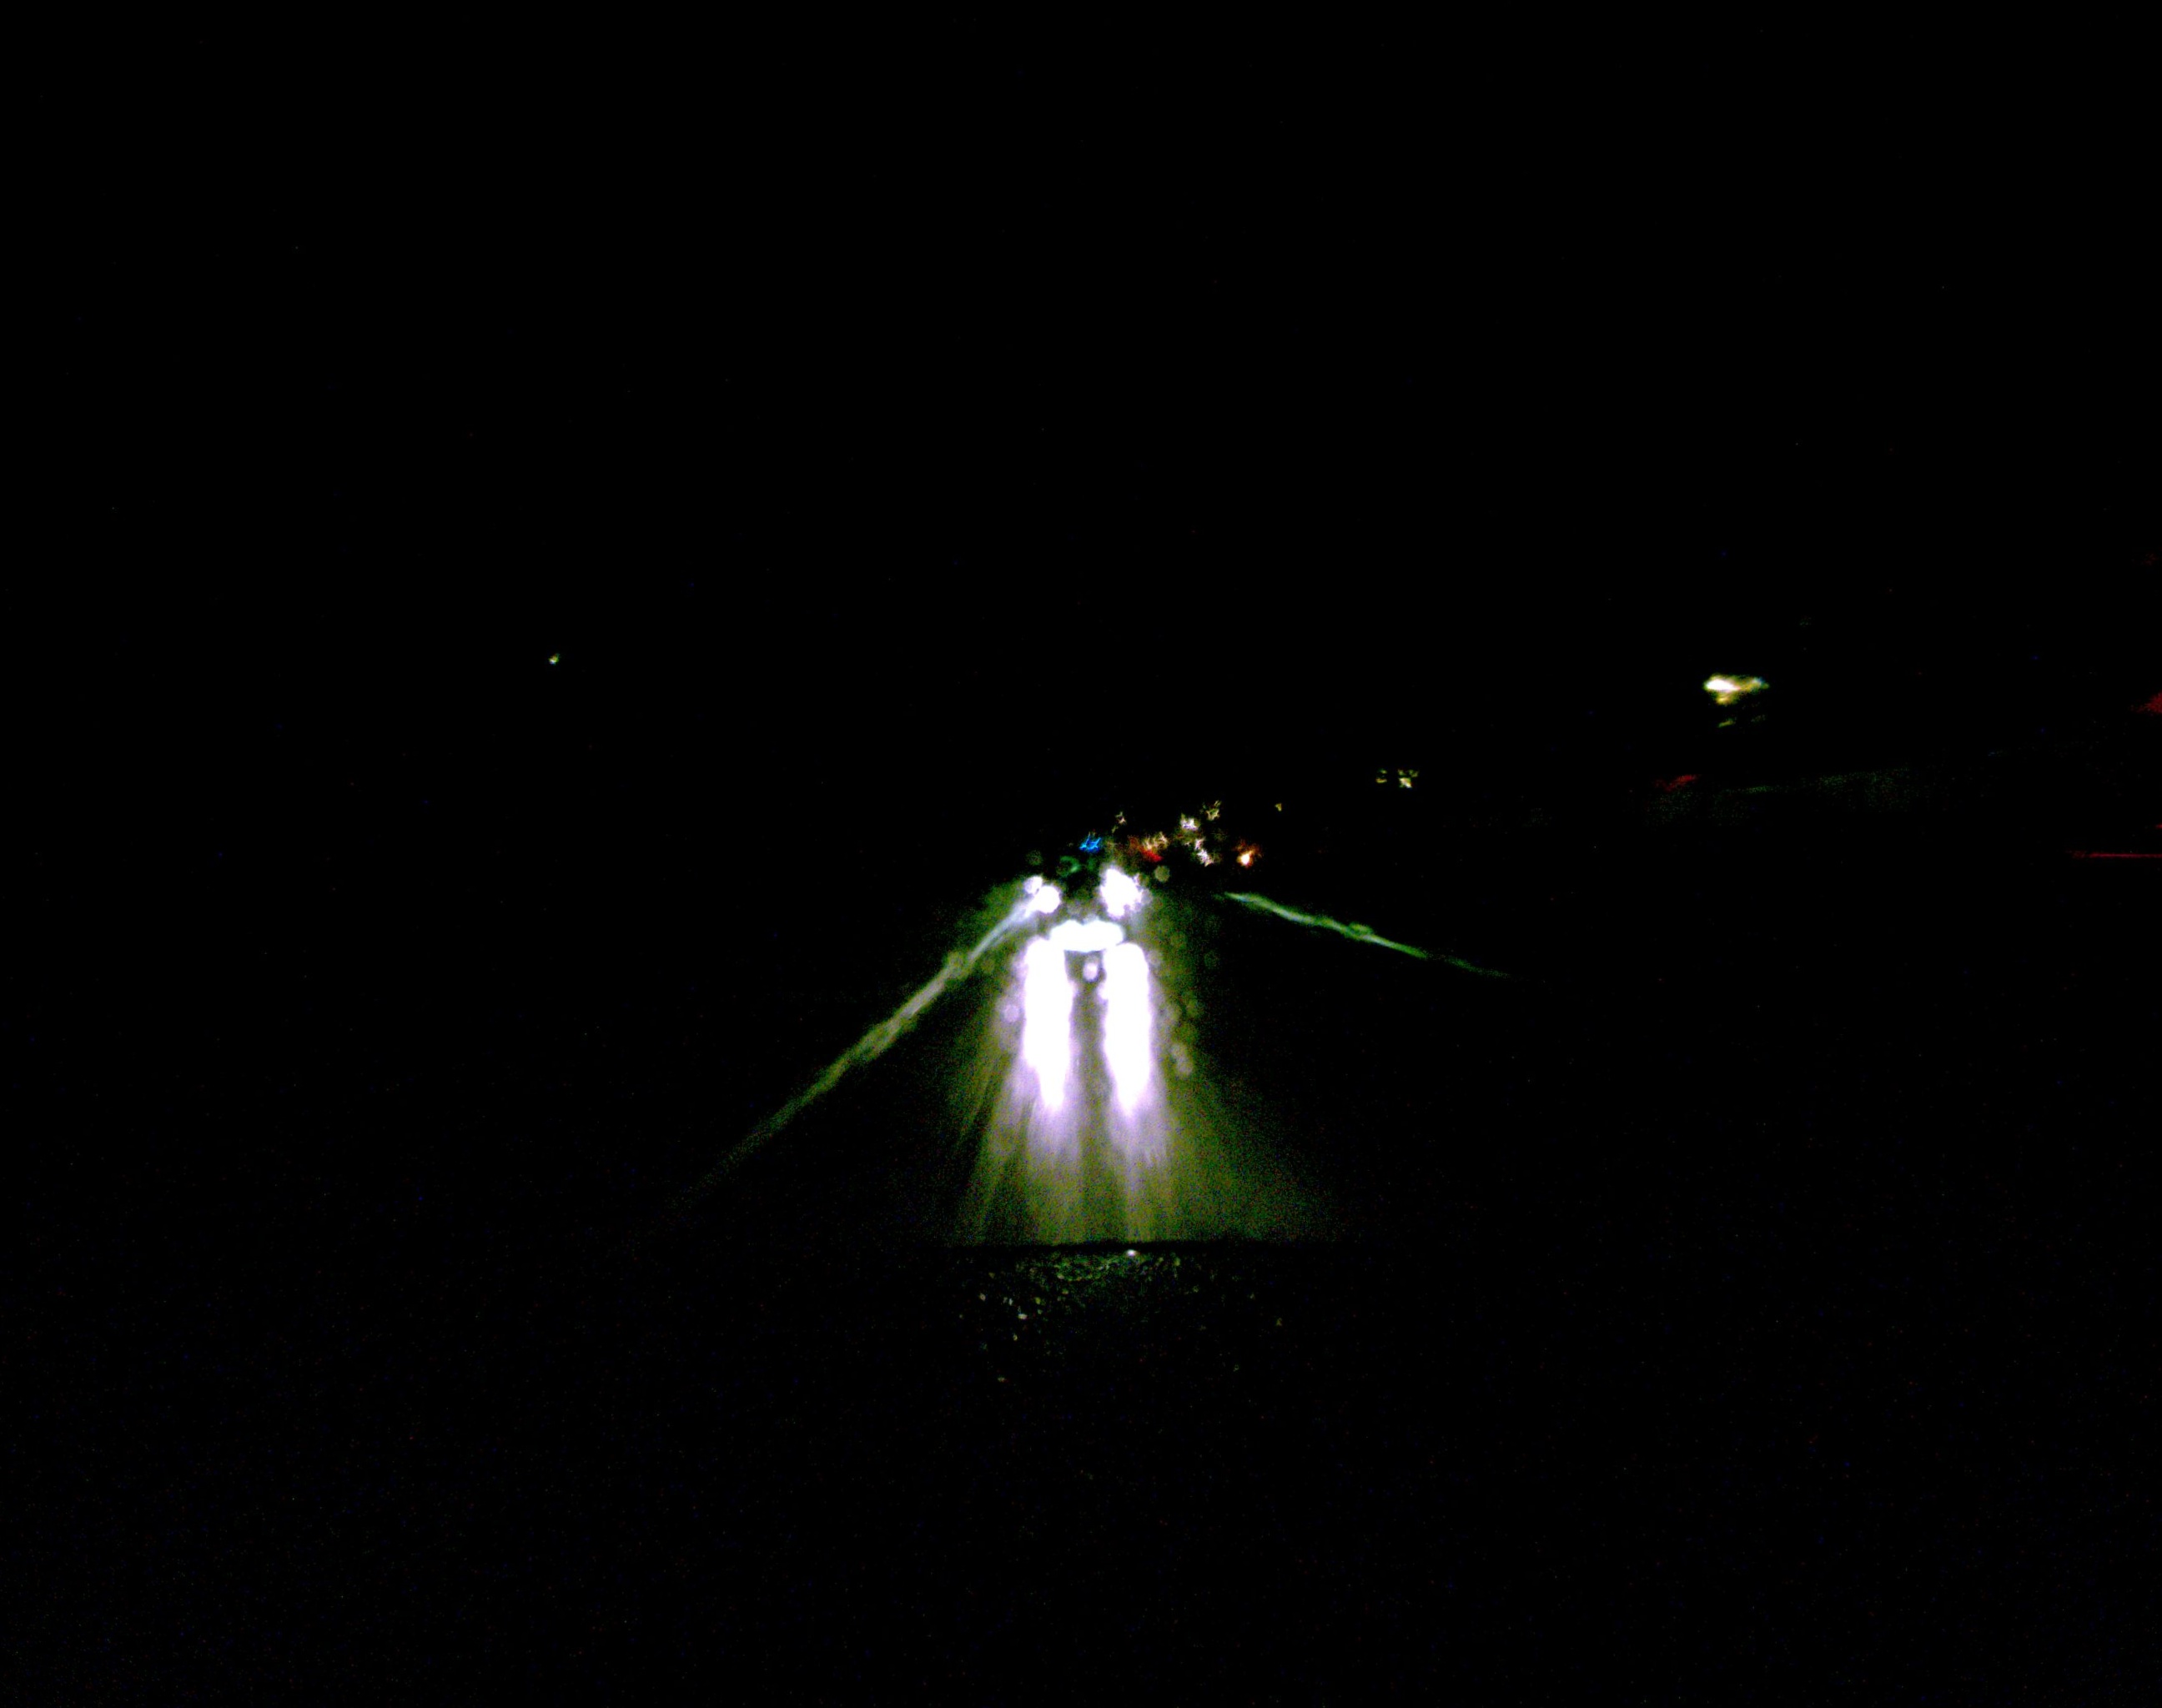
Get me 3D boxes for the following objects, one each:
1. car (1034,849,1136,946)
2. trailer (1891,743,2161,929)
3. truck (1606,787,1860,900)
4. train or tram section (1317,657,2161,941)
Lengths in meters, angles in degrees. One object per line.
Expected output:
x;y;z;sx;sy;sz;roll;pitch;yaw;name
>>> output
0.071;0.807;15.855;1.791;1.684;4.219;-2;0;0;car
30.959;-0.559;19.711;3.981;4.984;14.832;-2;1;0;trailer
30.758;-0.505;36.840;3.448;4.583;10.211;-2;1;0;truck
15.844;-1.015;28.044;2.703;3.793;37.139;-2;1;0;train or tram section
